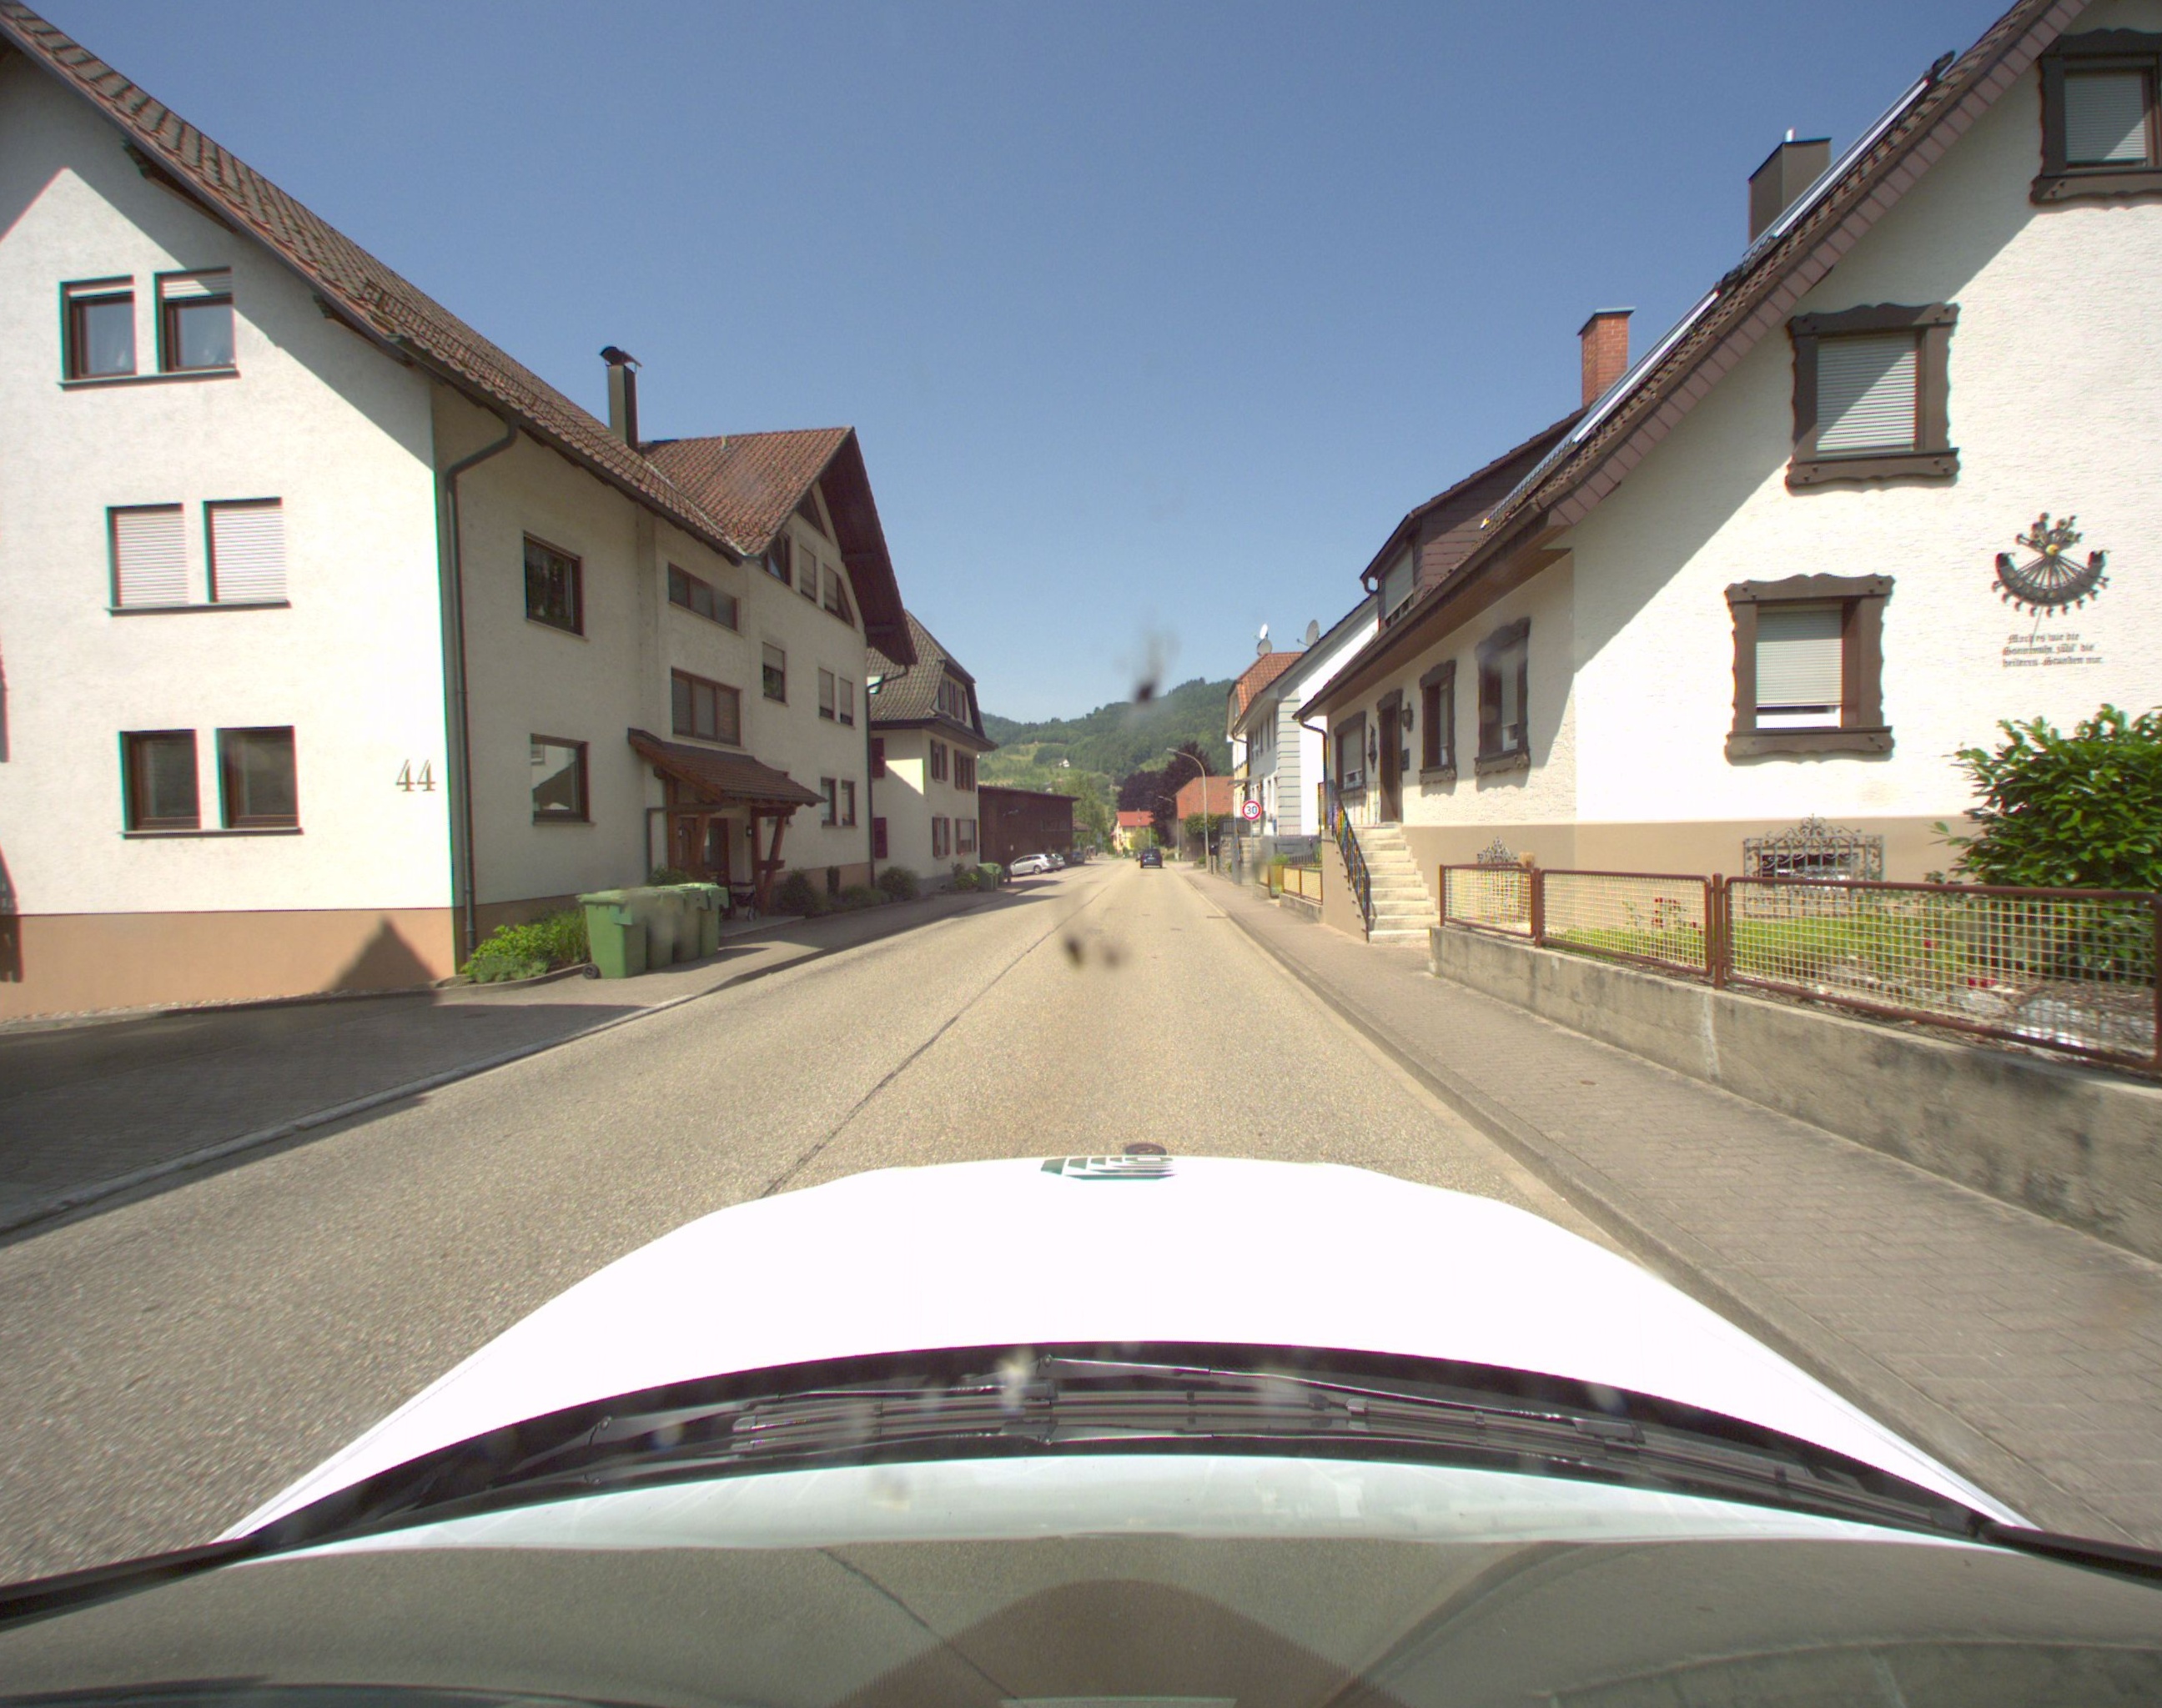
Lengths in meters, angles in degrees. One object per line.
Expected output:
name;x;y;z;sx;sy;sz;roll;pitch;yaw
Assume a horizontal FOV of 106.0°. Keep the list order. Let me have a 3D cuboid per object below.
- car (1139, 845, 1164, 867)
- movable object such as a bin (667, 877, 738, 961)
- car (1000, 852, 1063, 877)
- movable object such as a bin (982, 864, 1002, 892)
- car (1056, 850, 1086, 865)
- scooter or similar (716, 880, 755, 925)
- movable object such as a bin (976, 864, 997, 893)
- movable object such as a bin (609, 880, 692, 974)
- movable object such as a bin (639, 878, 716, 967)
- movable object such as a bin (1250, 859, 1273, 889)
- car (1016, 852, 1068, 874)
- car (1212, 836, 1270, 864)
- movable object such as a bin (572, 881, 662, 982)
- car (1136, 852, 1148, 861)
car;5.767;0.139;66.740;1.911;1.698;3.792;-2;0;4
movable object such as a bin;-5.695;0.969;12.277;0.714;1.181;0.599;-3;0;5
car;-3.770;0.771;61.948;4.387;1.474;1.937;-5;-1;30
movable object such as a bin;-3.519;0.946;32.192;0.673;1.067;0.622;-2;0;3
car;-1.004;0.359;88.364;1.715;1.454;4.828;-1;1;18
scooter or similar;-6.751;0.943;15.926;0.503;0.826;0.538;-2;1;4
movable object such as a bin;-3.641;0.951;31.470;0.673;1.067;0.654;-2;0;3
movable object such as a bin;-5.790;0.966;10.970;0.714;1.181;0.599;-3;0;5
movable object such as a bin;-5.750;0.968;11.621;0.714;1.181;0.599;-3;0;5
movable object such as a bin;6.432;0.701;29.080;0.701;1.020;0.619;-2;0;5
car;-3.091;0.745;64.862;3.628;1.385;1.719;-6;-1;19
car;12.565;-0.306;64.103;4.197;1.687;1.781;-6;-1;8
movable object such as a bin;-5.860;0.965;10.313;0.714;1.181;0.599;-3;0;5
car;8.499;0.292;112.991;1.472;1.209;2.384;-2;0;0
